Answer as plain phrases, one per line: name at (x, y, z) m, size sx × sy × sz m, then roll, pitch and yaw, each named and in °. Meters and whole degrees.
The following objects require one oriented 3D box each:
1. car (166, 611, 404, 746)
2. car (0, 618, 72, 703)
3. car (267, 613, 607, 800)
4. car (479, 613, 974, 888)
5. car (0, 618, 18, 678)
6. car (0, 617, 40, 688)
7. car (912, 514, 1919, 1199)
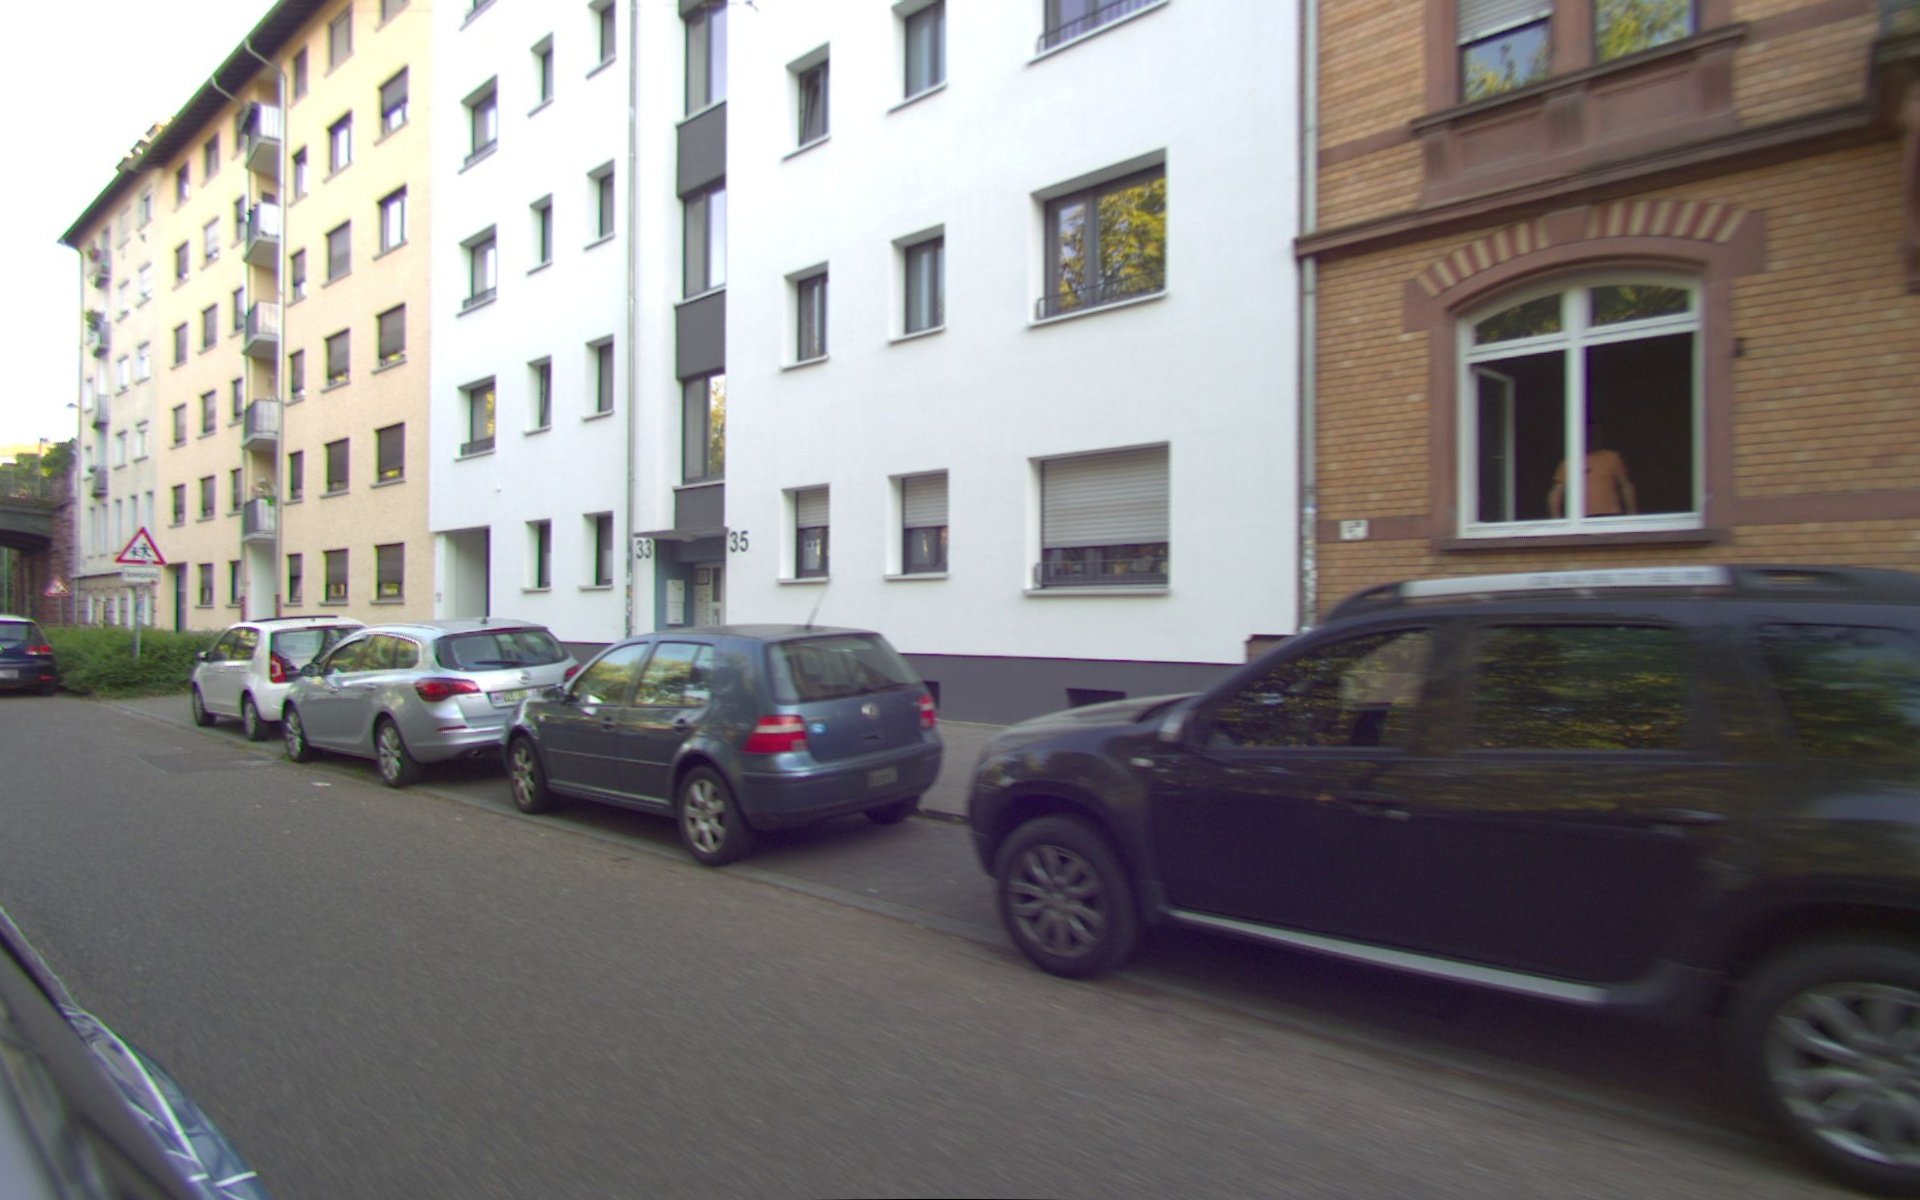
car at (-9.329, 0.962, 13.871) m, size 3.997 × 1.519 × 1.651 m, roll -1°, pitch 1°, yaw 40°
car at (-18.409, 1.099, 19.291) m, size 3.999 × 1.490 × 1.721 m, roll -1°, pitch -3°, yaw 42°
car at (-5.536, 0.924, 10.459) m, size 4.282 × 1.482 × 1.651 m, roll -1°, pitch 1°, yaw 41°
car at (-1.920, 0.865, 7.505) m, size 4.000 × 1.462 × 1.598 m, roll -1°, pitch 0°, yaw 43°
car at (-26.190, 1.241, 26.756) m, size 3.781 × 1.529 × 1.550 m, roll -1°, pitch -2°, yaw 42°
car at (-22.243, 1.141, 22.837) m, size 3.771 × 1.537 × 1.685 m, roll -1°, pitch -2°, yaw 40°
car at (1.935, 0.663, 4.057) m, size 4.197 × 1.719 × 1.734 m, roll -1°, pitch -1°, yaw 40°
